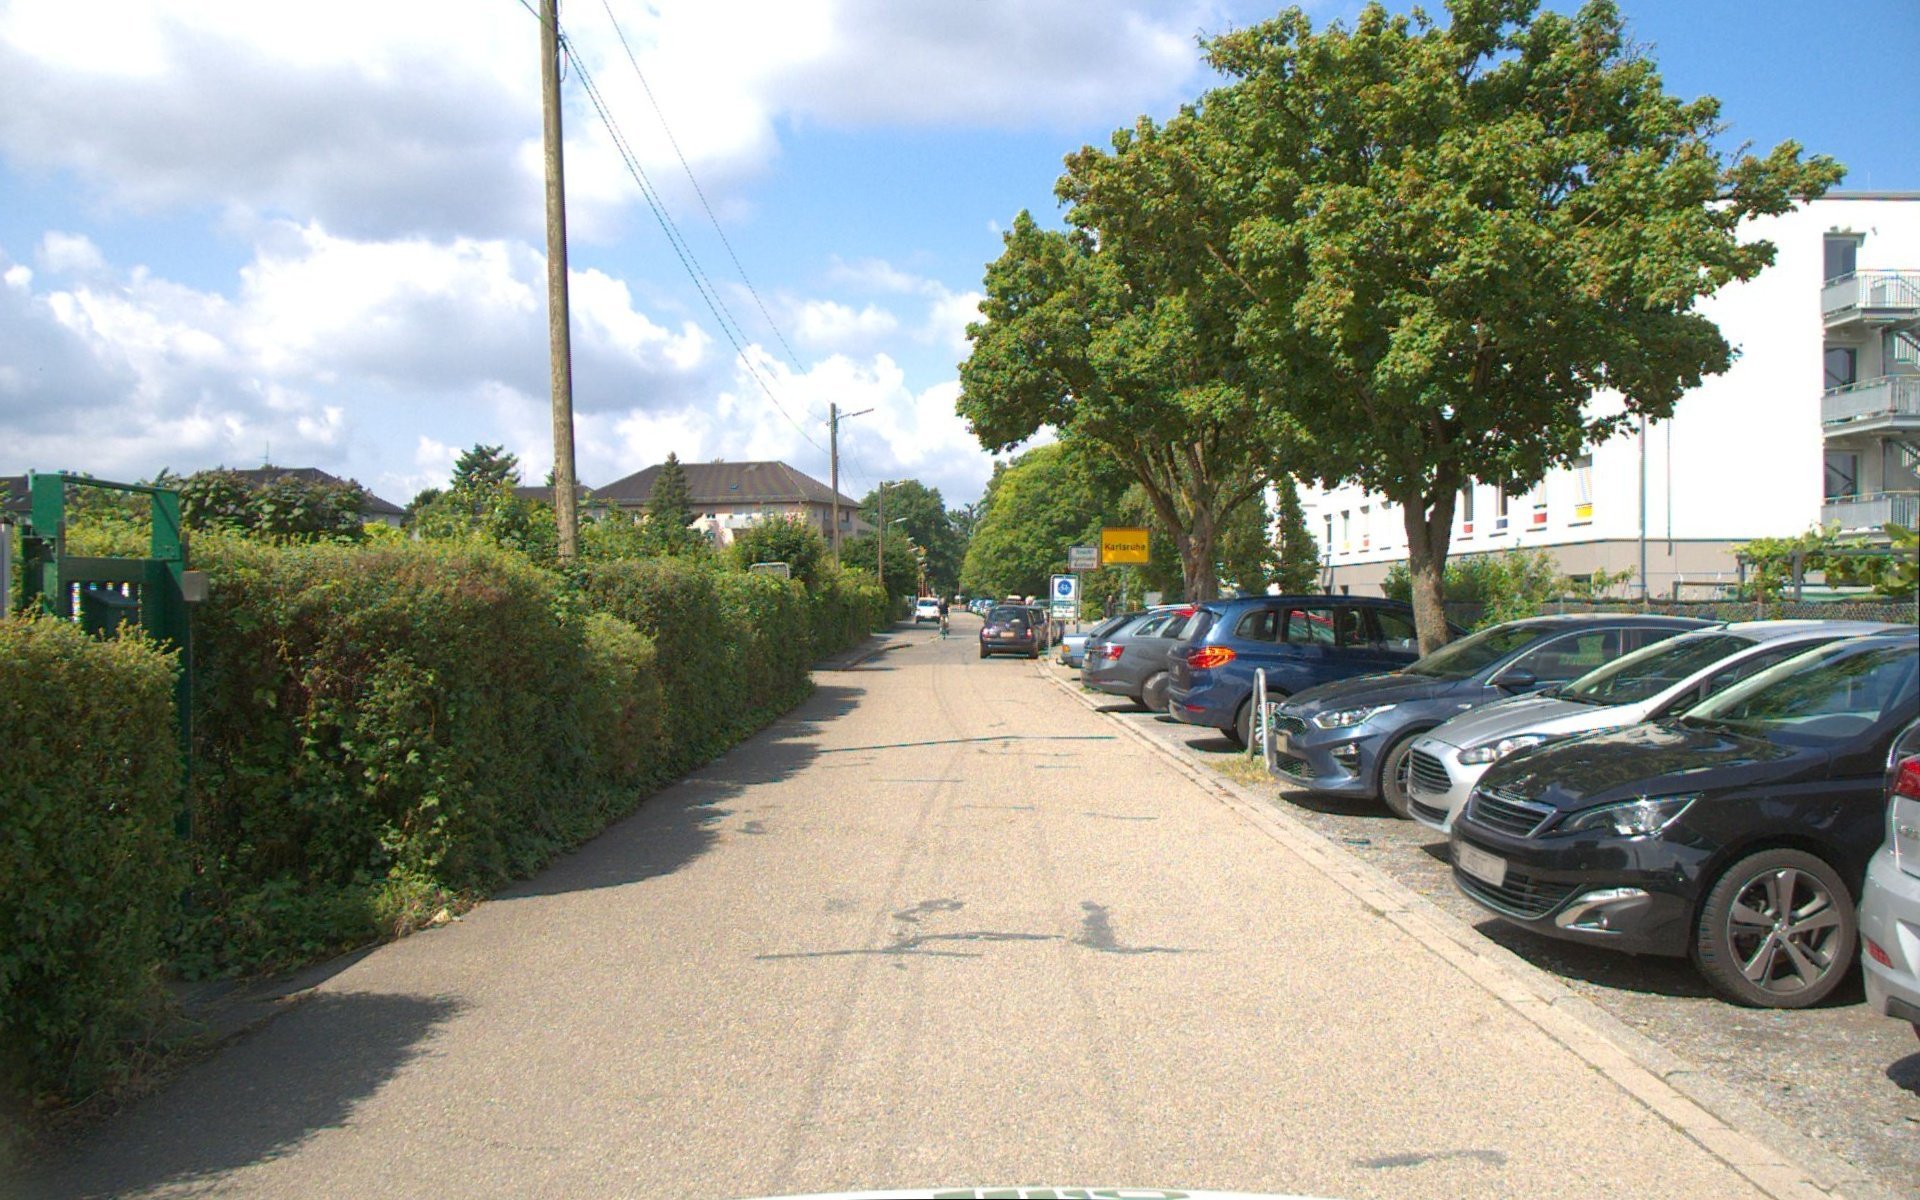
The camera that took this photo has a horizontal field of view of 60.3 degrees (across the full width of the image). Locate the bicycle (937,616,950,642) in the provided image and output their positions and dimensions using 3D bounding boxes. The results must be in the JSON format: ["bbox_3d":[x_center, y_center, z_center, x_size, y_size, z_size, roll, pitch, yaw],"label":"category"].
[{"bbox_3d":[-0.750,1.325,76.045,0.507,1.170,1.827,-1,0,2],"label":"bicycle"}]

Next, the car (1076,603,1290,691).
[{"bbox_3d":[4.302,0.892,32.293,3.854,1.587,1.867,1,0,-2],"label":"car"}]

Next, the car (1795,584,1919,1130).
[{"bbox_3d":[4.607,0.777,4.600,3.650,1.567,1.848,1,0,-4],"label":"car"}]

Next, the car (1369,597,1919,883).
[{"bbox_3d":[4.605,0.789,10.068,3.735,1.518,1.902,1,0,-1],"label":"car"}]

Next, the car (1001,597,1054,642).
[{"bbox_3d":[2.485,0.701,60.222,1.628,1.579,3.640,1,0,7],"label":"car"}]

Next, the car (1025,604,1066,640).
[{"bbox_3d":[3.658,0.941,71.224,1.629,1.460,3.542,1,0,1],"label":"car"}]

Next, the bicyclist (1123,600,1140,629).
[{"bbox_3d":[10.910,0.921,105.064,0.770,1.817,0.892,1,-1,32],"label":"bicyclist"}]

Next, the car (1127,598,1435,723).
[{"bbox_3d":[4.188,0.777,21.976,3.731,1.559,1.762,-1,0,-1],"label":"car"}]

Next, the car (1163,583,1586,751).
[{"bbox_3d":[4.316,0.681,17.725,4.069,1.666,1.879,-1,0,1],"label":"car"}]

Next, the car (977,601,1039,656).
[{"bbox_3d":[1.460,0.836,49.126,1.628,1.532,4.002,1,0,4],"label":"car"}]

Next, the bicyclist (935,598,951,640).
[{"bbox_3d":[-0.764,0.880,76.098,0.645,1.884,1.043,-1,0,2],"label":"bicyclist"}]

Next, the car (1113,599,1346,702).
[{"bbox_3d":[4.414,0.815,27.375,3.503,1.576,1.665,1,0,-4],"label":"car"}]

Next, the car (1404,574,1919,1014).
[{"bbox_3d":[4.332,0.765,7.241,4.215,1.622,1.999,1,0,-1],"label":"car"}]

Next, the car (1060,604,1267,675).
[{"bbox_3d":[4.295,0.837,35.403,4.267,1.416,1.719,-1,-1,3],"label":"car"}]

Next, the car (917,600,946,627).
[{"bbox_3d":[-2.012,0.945,117.651,1.863,1.846,4.001,1,0,2],"label":"car"}]

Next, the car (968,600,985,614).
[{"bbox_3d":[2.121,0.894,211.765,1.813,1.646,4.002,1,0,4],"label":"car"}]

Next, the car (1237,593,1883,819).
[{"bbox_3d":[4.444,0.764,12.747,4.247,1.518,1.975,1,0,-1],"label":"car"}]

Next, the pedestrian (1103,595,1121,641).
[{"bbox_3d":[5.946,0.702,64.695,0.597,1.776,0.722,1,-1,13],"label":"pedestrian"}]

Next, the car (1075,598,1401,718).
[{"bbox_3d":[4.020,0.835,24.383,4.457,1.606,1.808,1,0,-2],"label":"car"}]

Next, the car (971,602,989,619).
[{"bbox_3d":[2.408,1.258,197.018,1.953,2.049,3.999,1,0,-1],"label":"car"}]

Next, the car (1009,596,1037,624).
[{"bbox_3d":[4.560,0.707,119.924,2.015,1.960,4.542,1,0,2],"label":"car"}]
